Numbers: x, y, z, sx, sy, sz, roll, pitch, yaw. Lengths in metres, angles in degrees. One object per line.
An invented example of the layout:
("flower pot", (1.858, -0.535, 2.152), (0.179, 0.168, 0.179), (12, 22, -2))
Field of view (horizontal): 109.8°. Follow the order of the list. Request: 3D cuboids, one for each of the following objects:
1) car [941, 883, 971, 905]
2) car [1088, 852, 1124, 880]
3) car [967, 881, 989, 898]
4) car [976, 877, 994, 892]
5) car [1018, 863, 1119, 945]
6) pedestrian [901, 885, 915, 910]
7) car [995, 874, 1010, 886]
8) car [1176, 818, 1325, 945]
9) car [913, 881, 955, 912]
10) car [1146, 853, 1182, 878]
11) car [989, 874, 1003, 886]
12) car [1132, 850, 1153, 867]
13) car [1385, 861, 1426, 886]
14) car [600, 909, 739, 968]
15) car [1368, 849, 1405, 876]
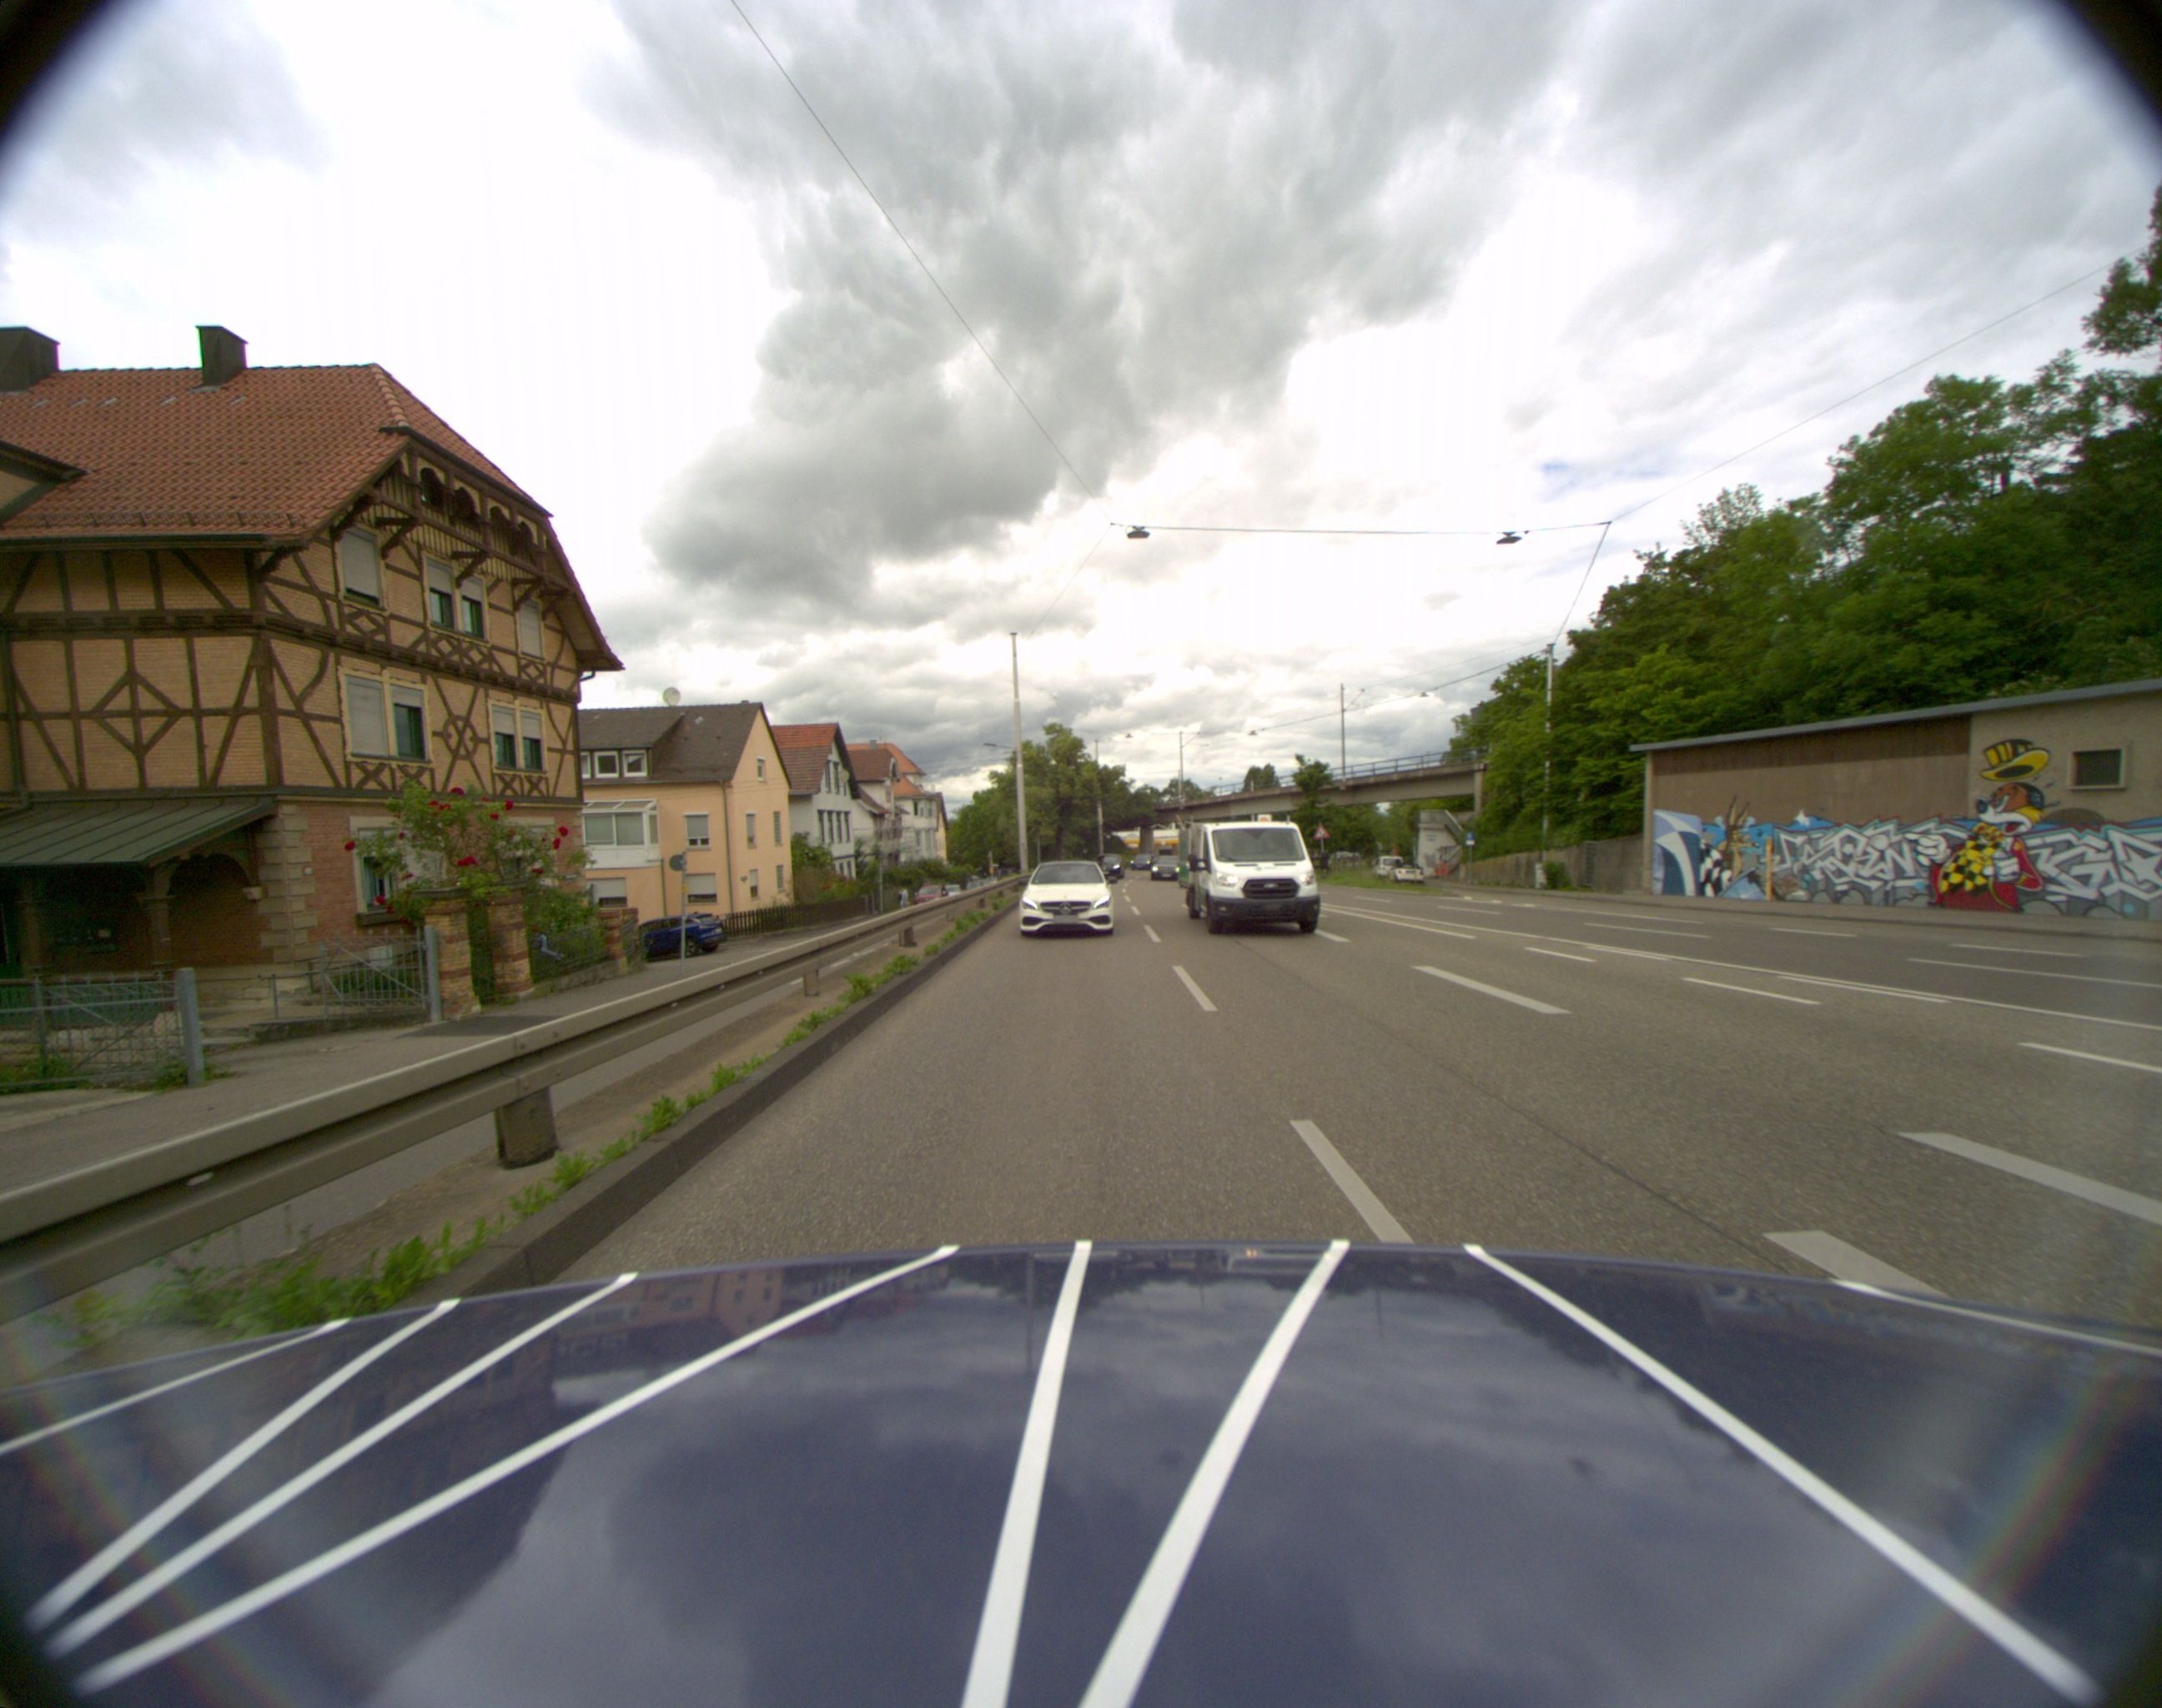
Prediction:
("car", (-9.287, 2.960, 56.719), (1.623, 1.432, 4.432), (-3, 0, -3))
("car", (1.541, 0.722, 46.778), (1.998, 1.521, 4.001), (-3, 0, 2))
("car", (-9.863, 3.380, 73.055), (1.623, 1.439, 4.056), (-3, 0, -3))
("car", (-10.402, 3.324, 82.548), (1.624, 1.439, 4.028), (-3, 0, -4))
("car", (-0.228, 0.936, 15.746), (1.821, 1.339, 3.999), (-1, 1, 0))
("pedestrian", (-10.420, 2.621, 45.711), (0.619, 1.472, 0.589), (-3, 0, -1))
("car", (-9.765, 3.245, 94.397), (1.650, 1.386, 3.768), (-3, 0, -4))
("car", (3.343, 0.443, 16.369), (1.998, 2.161, 6.268), (-2, 1, 2))
("car", (-9.048, 2.604, 47.066), (1.786, 1.660, 4.202), (-3, 0, -1))
("car", (5.034, 0.673, 46.574), (1.734, 1.403, 3.999), (1, 1, 0))
("car", (-11.216, 3.427, 100.207), (1.624, 1.512, 4.302), (-3, 0, -7))
("car", (5.402, 0.382, 66.865), (1.733, 1.403, 4.001), (1, 1, 4))
("car", (20.798, 1.205, 48.809), (1.769, 1.411, 3.807), (1, 1, 14))
("car", (-15.504, 3.159, 28.800), (3.998, 1.564, 2.000), (-7, 0, -2))
("car", (22.191, 0.596, 55.341), (1.769, 1.775, 4.469), (3, 1, 13))
